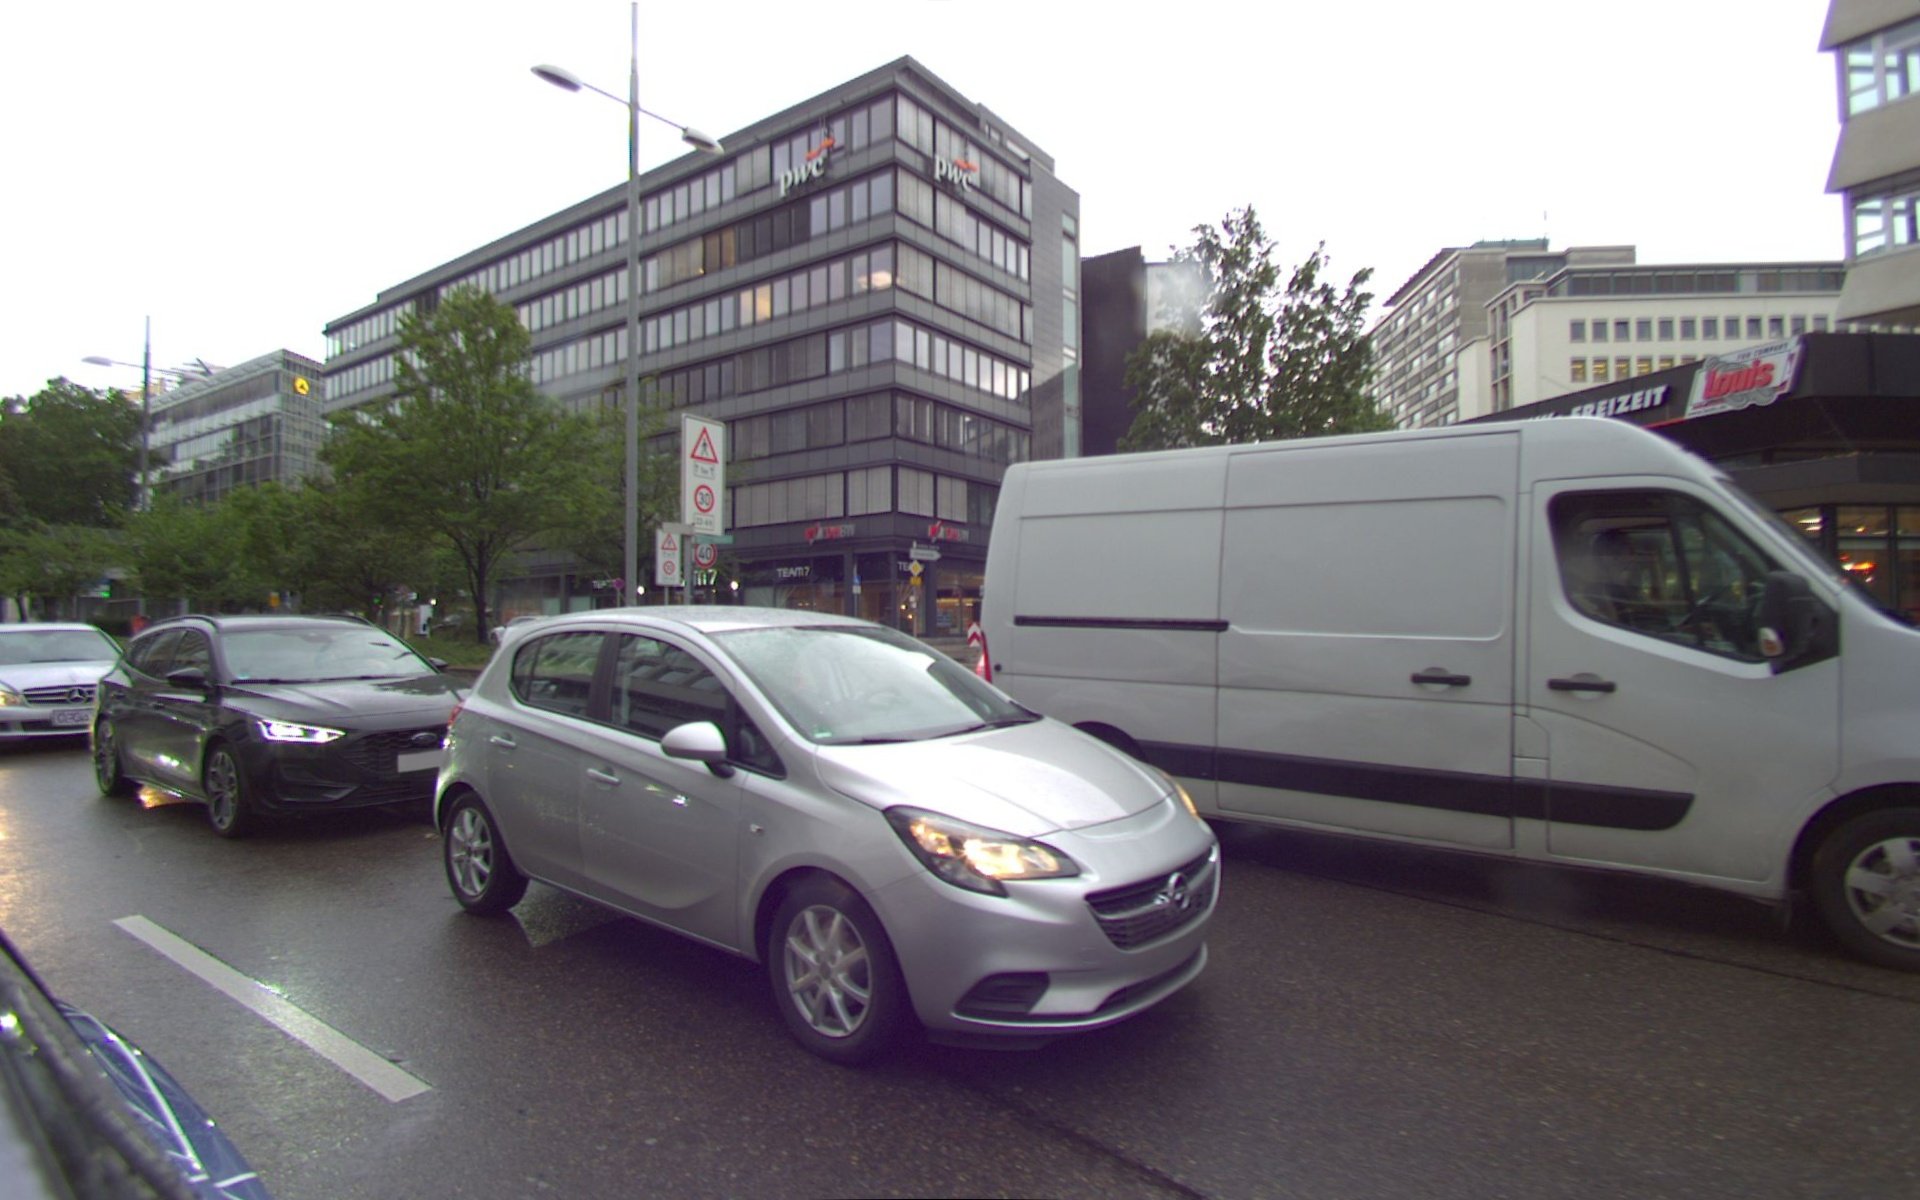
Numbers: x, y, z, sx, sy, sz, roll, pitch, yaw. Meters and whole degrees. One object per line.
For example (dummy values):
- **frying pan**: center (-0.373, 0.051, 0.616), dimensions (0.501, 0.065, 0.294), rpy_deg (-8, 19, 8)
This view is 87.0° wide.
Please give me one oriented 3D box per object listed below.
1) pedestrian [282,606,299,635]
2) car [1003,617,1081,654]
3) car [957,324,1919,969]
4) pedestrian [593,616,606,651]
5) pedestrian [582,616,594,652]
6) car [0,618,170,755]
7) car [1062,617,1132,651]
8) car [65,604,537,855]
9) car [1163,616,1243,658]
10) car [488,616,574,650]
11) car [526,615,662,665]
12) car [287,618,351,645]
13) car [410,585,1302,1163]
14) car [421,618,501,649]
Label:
- **pedestrian**: center (-47.616, 1.444, 71.965), dimensions (0.539, 2.029, 0.917), rpy_deg (-1, -1, 38)
- **car**: center (3.767, 1.577, 45.980), dimensions (1.847, 1.596, 3.716), rpy_deg (-1, -1, 37)
- **car**: center (2.765, 0.206, 5.693), dimensions (5.468, 2.459, 1.929), rpy_deg (-1, -1, 36)
- **pedestrian**: center (-21.123, 1.959, 59.250), dimensions (0.460, 2.029, 0.568), rpy_deg (-1, -1, 35)
- **pedestrian**: center (-21.109, 1.906, 57.440), dimensions (0.296, 2.029, 0.534), rpy_deg (-1, -1, 35)
- **car**: center (-11.203, 0.946, 12.229), dimensions (4.090, 1.391, 1.754), rpy_deg (-1, -1, 39)
- **car**: center (6.780, 1.641, 49.992), dimensions (1.847, 1.596, 3.716), rpy_deg (-1, -1, 37)
- **car**: center (-5.213, 0.790, 7.816), dimensions (4.087, 1.446, 1.755), rpy_deg (-1, -1, 37)
- **car**: center (9.919, 1.474, 41.178), dimensions (1.847, 1.596, 3.716), rpy_deg (-1, -1, 37)
- **car**: center (-20.190, 1.550, 47.635), dimensions (3.992, 1.518, 1.976), rpy_deg (-1, -1, 36)
- **car**: center (-10.873, 1.158, 29.993), dimensions (3.986, 1.383, 1.733), rpy_deg (-1, -1, 32)
- **car**: center (-38.794, 1.900, 61.203), dimensions (3.992, 1.518, 1.976), rpy_deg (-1, -1, 36)
- **car**: center (-0.726, 0.714, 4.415), dimensions (3.871, 1.446, 1.632), rpy_deg (-1, -1, 40)
- **car**: center (-25.399, 1.689, 51.459), dimensions (4.099, 1.518, 1.976), rpy_deg (-1, -1, 36)
